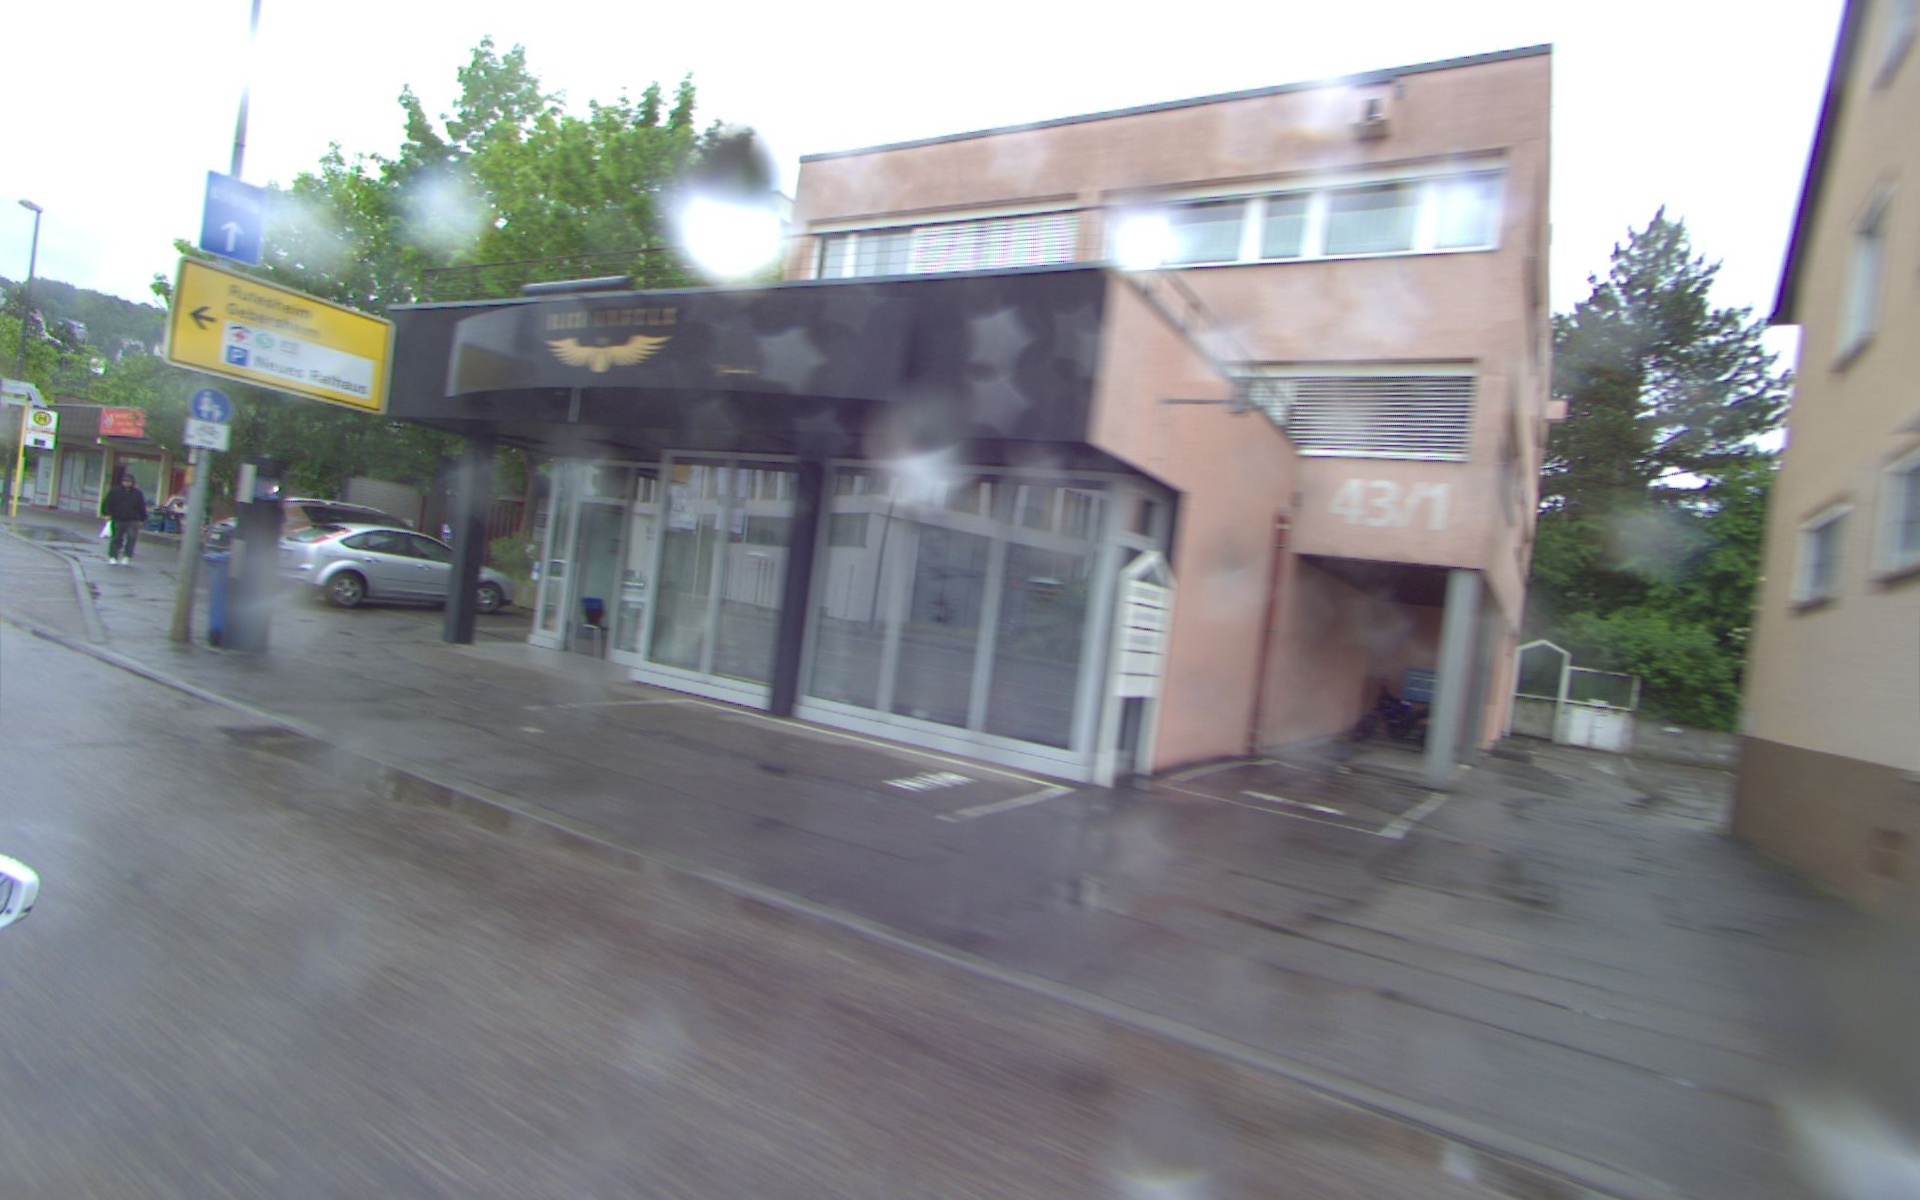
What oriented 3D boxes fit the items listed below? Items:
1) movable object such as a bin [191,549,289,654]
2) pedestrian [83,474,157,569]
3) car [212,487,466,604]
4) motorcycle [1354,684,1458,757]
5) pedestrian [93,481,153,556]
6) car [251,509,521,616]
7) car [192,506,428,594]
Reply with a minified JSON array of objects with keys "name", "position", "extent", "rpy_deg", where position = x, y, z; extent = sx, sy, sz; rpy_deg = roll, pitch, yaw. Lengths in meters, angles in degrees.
[{"name":"movable object such as a bin","position":[-8.304,0.024,11.601],"extent":[0.687,1.088,0.636],"rpy_deg":[10,2,34]},{"name":"pedestrian","position":[-17.359,-1.607,20.793],"extent":[0.781,1.844,0.710],"rpy_deg":[5,0,5]},{"name":"car","position":[-13.079,-1.095,21.415],"extent":[1.847,1.894,4.094],"rpy_deg":[8,1,36]},{"name":"motorcycle","position":[8.706,2.335,19.686],"extent":[1.611,1.116,0.681],"rpy_deg":[9,1,8]},{"name":"pedestrian","position":[-21.215,-2.054,25.508],"extent":[0.747,1.759,0.875],"rpy_deg":[9,3,33]},{"name":"car","position":[-10.689,-0.649,18.988],"extent":[1.719,1.465,3.987],"rpy_deg":[8,1,36]},{"name":"car","position":[-14.924,-1.108,23.314],"extent":[1.773,1.472,4.151],"rpy_deg":[7,0,33]}]
